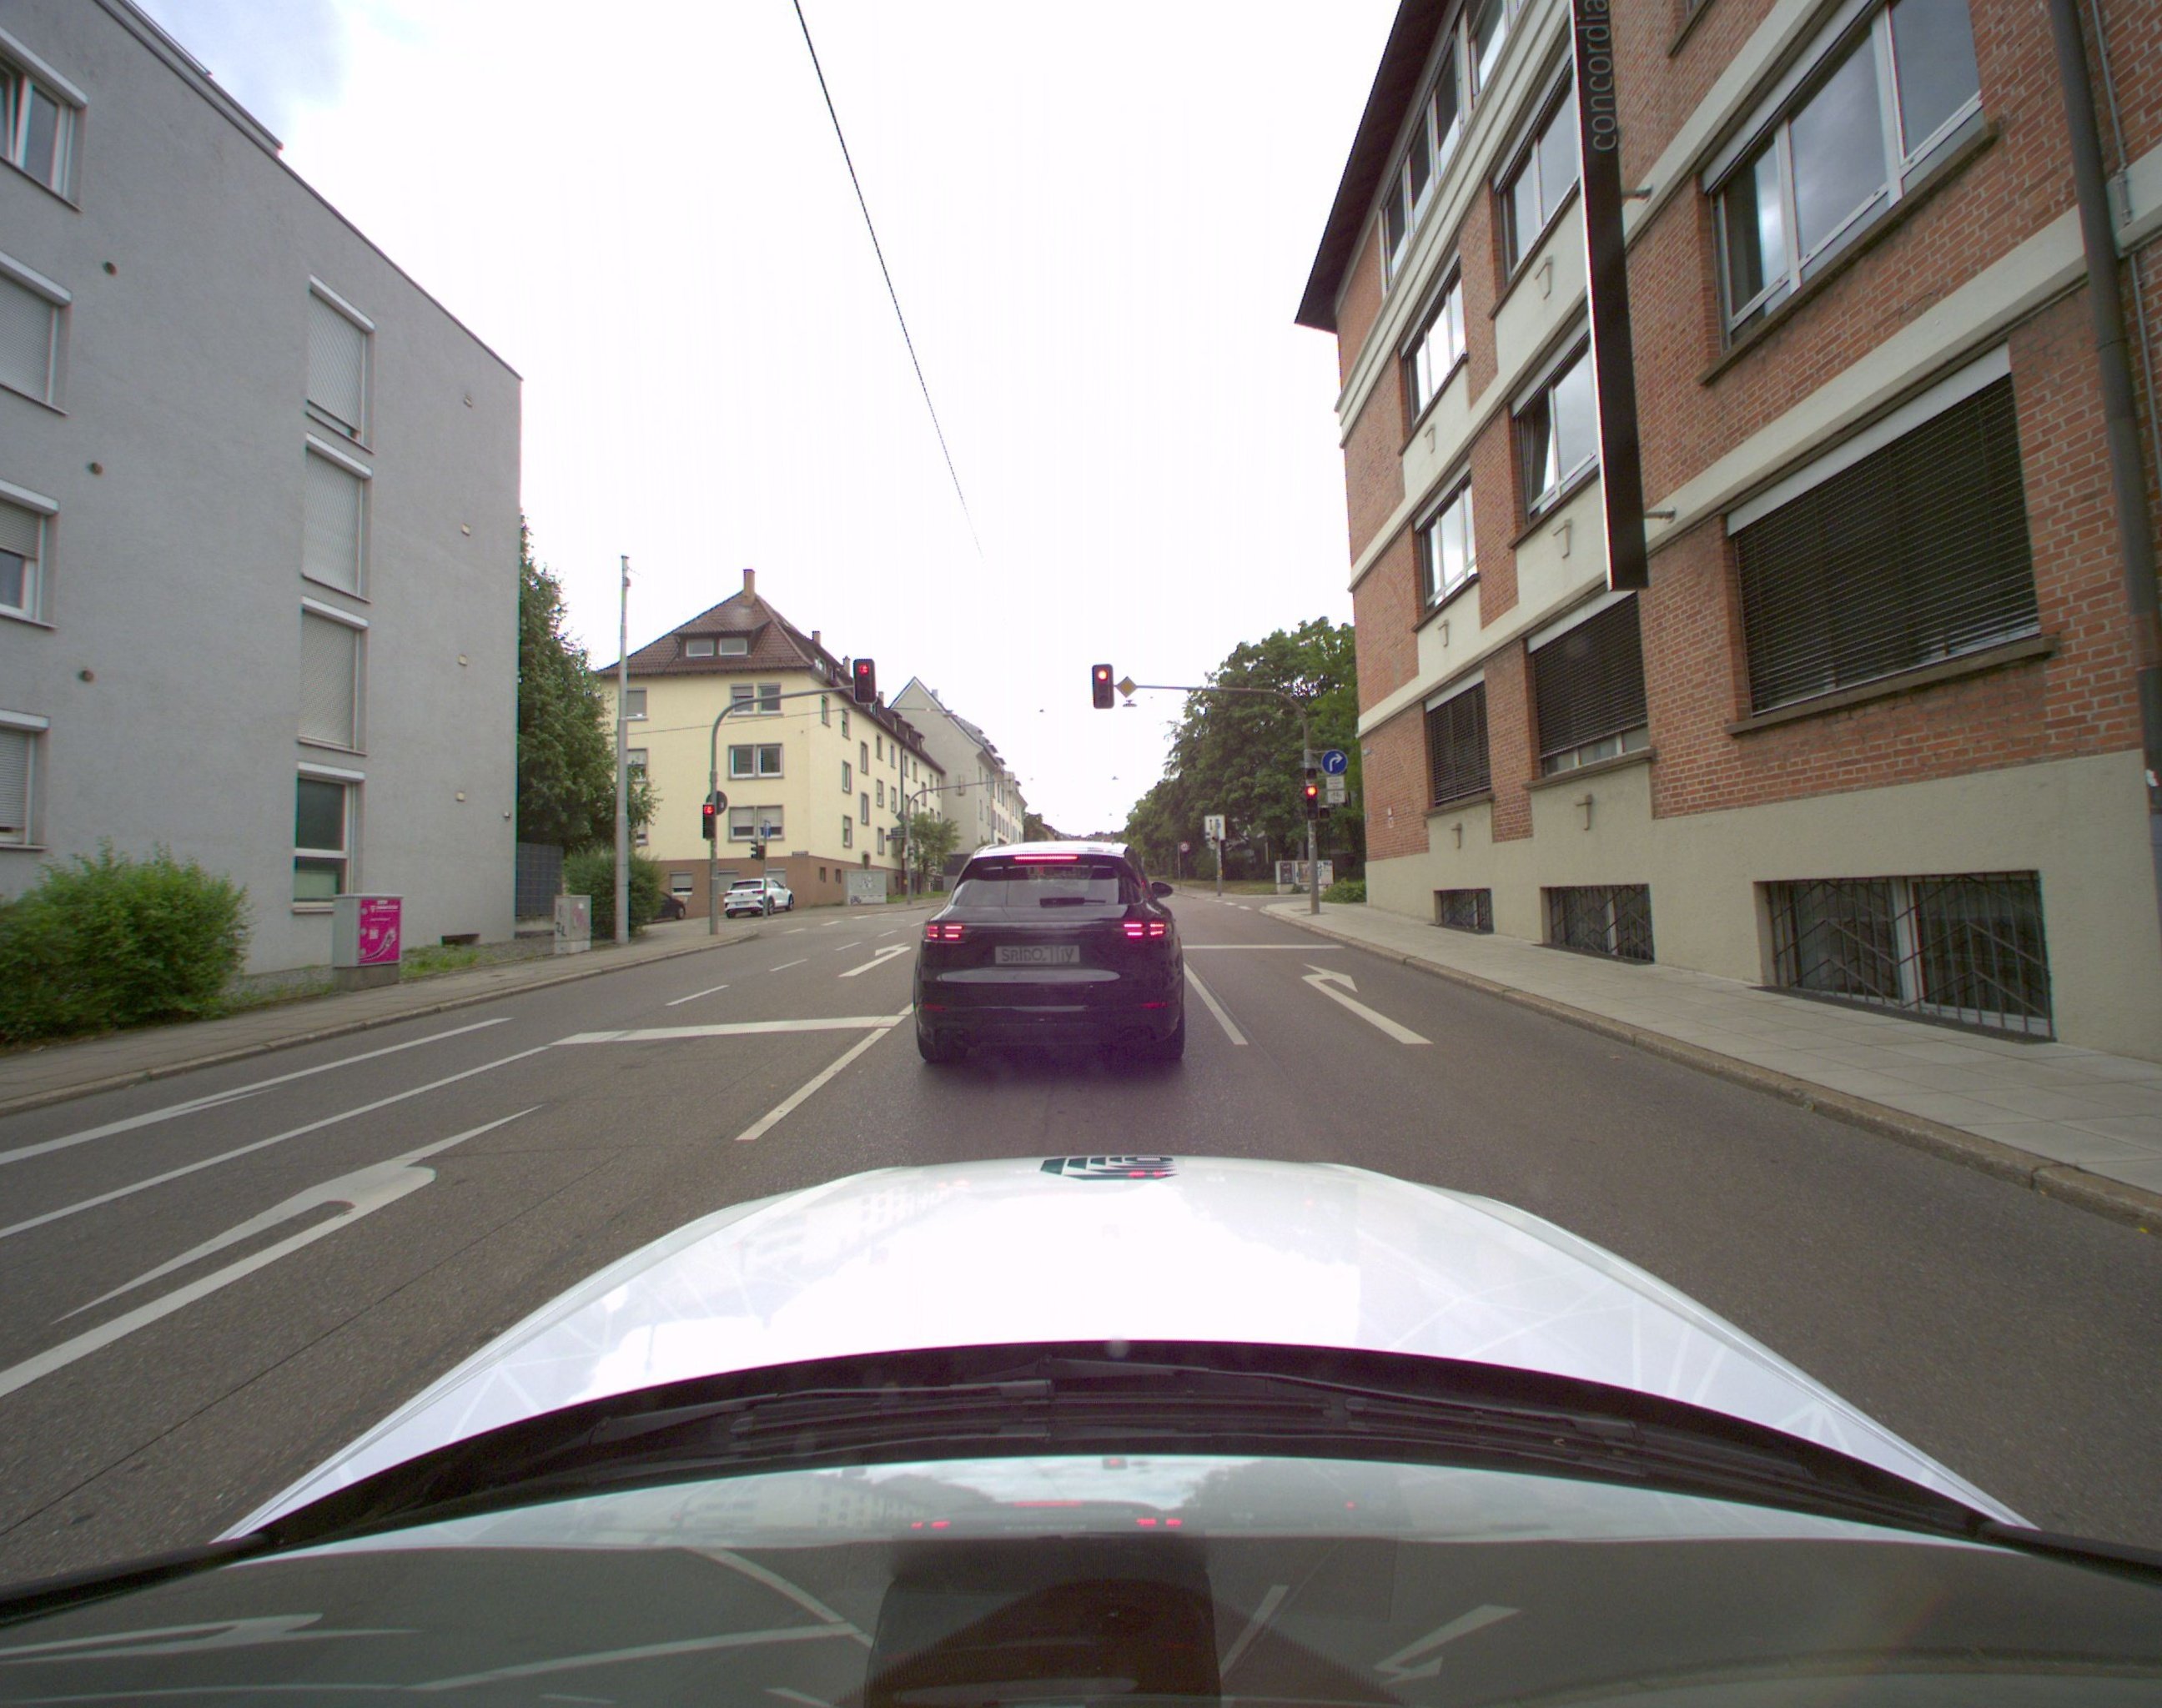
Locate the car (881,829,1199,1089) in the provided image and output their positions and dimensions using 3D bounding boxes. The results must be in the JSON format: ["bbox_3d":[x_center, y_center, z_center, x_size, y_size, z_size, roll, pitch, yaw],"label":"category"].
[{"bbox_3d":[-0.190,0.681,7.374,2.040,1.666,4.269,0,0,2],"label":"car"}]

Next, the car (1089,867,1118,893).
[{"bbox_3d":[1.470,1.644,52.641,1.820,1.605,3.860,0,0,2],"label":"car"}]

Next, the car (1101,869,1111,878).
[{"bbox_3d":[5.037,3.889,163.368,1.820,1.605,4.137,0,0,2],"label":"car"}]

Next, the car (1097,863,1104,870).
[{"bbox_3d":[5.084,3.259,210.379,1.820,1.605,4.137,0,0,2],"label":"car"}]

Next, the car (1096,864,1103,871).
[{"bbox_3d":[4.665,3.285,203.057,1.820,1.605,4.137,0,0,2],"label":"car"}]

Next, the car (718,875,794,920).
[{"bbox_3d":[-13.530,1.766,34.179,1.686,1.555,3.763,-4,0,-2],"label":"car"}]

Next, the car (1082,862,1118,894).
[{"bbox_3d":[1.055,1.266,43.934,1.820,1.605,4.137,0,0,2],"label":"car"}]

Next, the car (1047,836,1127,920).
[{"bbox_3d":[0.230,0.596,22.025,1.957,2.042,4.137,0,0,2],"label":"car"}]

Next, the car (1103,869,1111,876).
[{"bbox_3d":[5.873,4.120,182.535,1.820,1.605,4.137,0,0,2],"label":"car"}]

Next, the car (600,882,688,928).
[{"bbox_3d":[-18.495,2.130,34.643,1.686,1.608,3.763,-4,0,-2],"label":"car"}]
